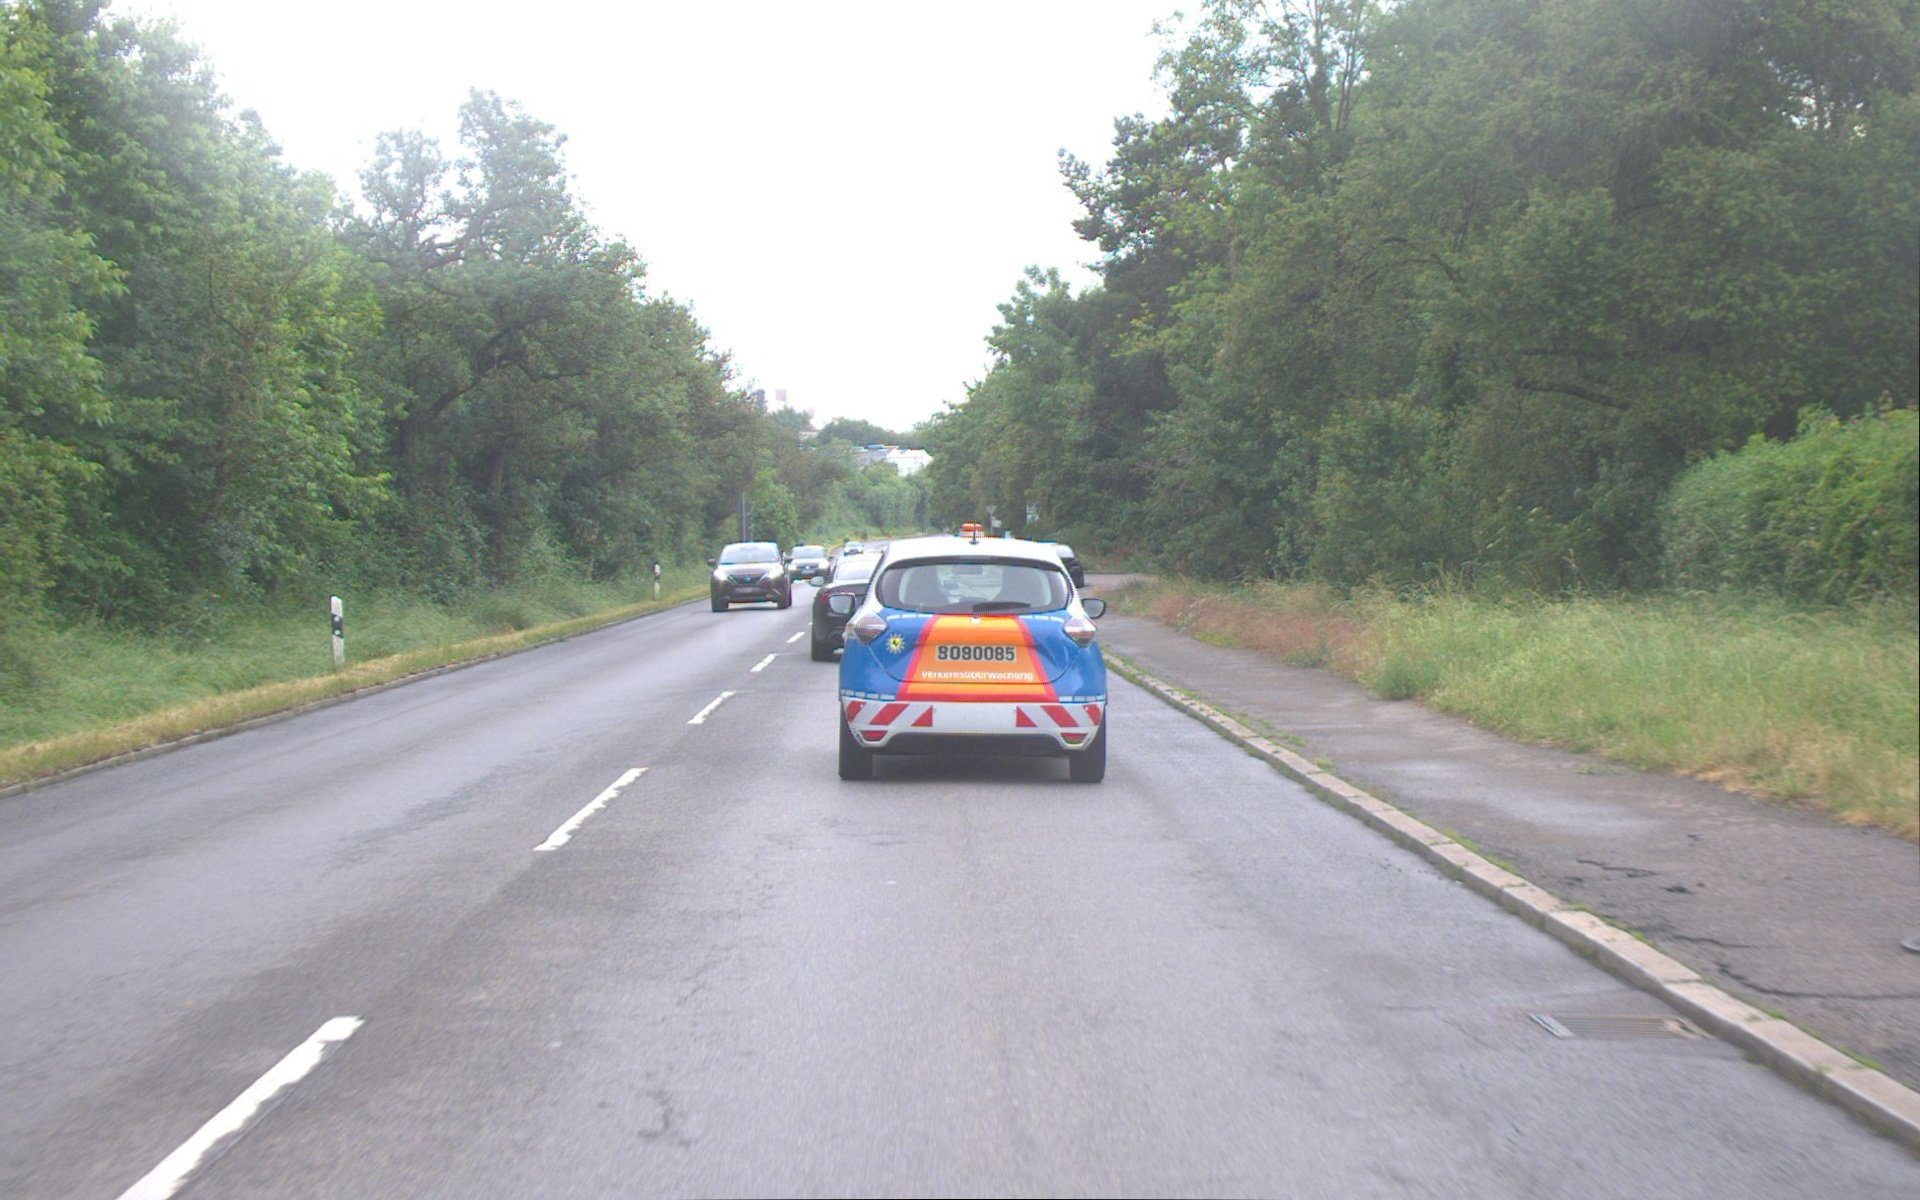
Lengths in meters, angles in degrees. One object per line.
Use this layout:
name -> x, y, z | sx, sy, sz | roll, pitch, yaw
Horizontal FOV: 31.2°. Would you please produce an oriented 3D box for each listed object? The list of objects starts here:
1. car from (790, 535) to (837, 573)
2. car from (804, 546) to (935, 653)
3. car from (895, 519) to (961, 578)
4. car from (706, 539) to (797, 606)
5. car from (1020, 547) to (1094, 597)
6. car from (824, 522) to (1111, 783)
car -> -5.801, -1.827, 136.397 | 1.710, 1.394, 4.150 | -3, 1, -1
car -> -1.140, -0.036, 44.665 | 1.598, 1.282, 3.476 | -1, 1, 0
car -> -1.052, -1.652, 109.660 | 1.993, 1.816, 4.000 | -2, 1, -1
car -> -5.041, -0.694, 83.753 | 1.905, 1.551, 4.516 | -1, 1, 0
car -> 2.808, -0.836, 100.431 | 1.993, 1.371, 4.000 | -1, 1, 0
car -> 0.011, 0.281, 23.047 | 1.752, 1.550, 3.793 | 0, 2, -1
